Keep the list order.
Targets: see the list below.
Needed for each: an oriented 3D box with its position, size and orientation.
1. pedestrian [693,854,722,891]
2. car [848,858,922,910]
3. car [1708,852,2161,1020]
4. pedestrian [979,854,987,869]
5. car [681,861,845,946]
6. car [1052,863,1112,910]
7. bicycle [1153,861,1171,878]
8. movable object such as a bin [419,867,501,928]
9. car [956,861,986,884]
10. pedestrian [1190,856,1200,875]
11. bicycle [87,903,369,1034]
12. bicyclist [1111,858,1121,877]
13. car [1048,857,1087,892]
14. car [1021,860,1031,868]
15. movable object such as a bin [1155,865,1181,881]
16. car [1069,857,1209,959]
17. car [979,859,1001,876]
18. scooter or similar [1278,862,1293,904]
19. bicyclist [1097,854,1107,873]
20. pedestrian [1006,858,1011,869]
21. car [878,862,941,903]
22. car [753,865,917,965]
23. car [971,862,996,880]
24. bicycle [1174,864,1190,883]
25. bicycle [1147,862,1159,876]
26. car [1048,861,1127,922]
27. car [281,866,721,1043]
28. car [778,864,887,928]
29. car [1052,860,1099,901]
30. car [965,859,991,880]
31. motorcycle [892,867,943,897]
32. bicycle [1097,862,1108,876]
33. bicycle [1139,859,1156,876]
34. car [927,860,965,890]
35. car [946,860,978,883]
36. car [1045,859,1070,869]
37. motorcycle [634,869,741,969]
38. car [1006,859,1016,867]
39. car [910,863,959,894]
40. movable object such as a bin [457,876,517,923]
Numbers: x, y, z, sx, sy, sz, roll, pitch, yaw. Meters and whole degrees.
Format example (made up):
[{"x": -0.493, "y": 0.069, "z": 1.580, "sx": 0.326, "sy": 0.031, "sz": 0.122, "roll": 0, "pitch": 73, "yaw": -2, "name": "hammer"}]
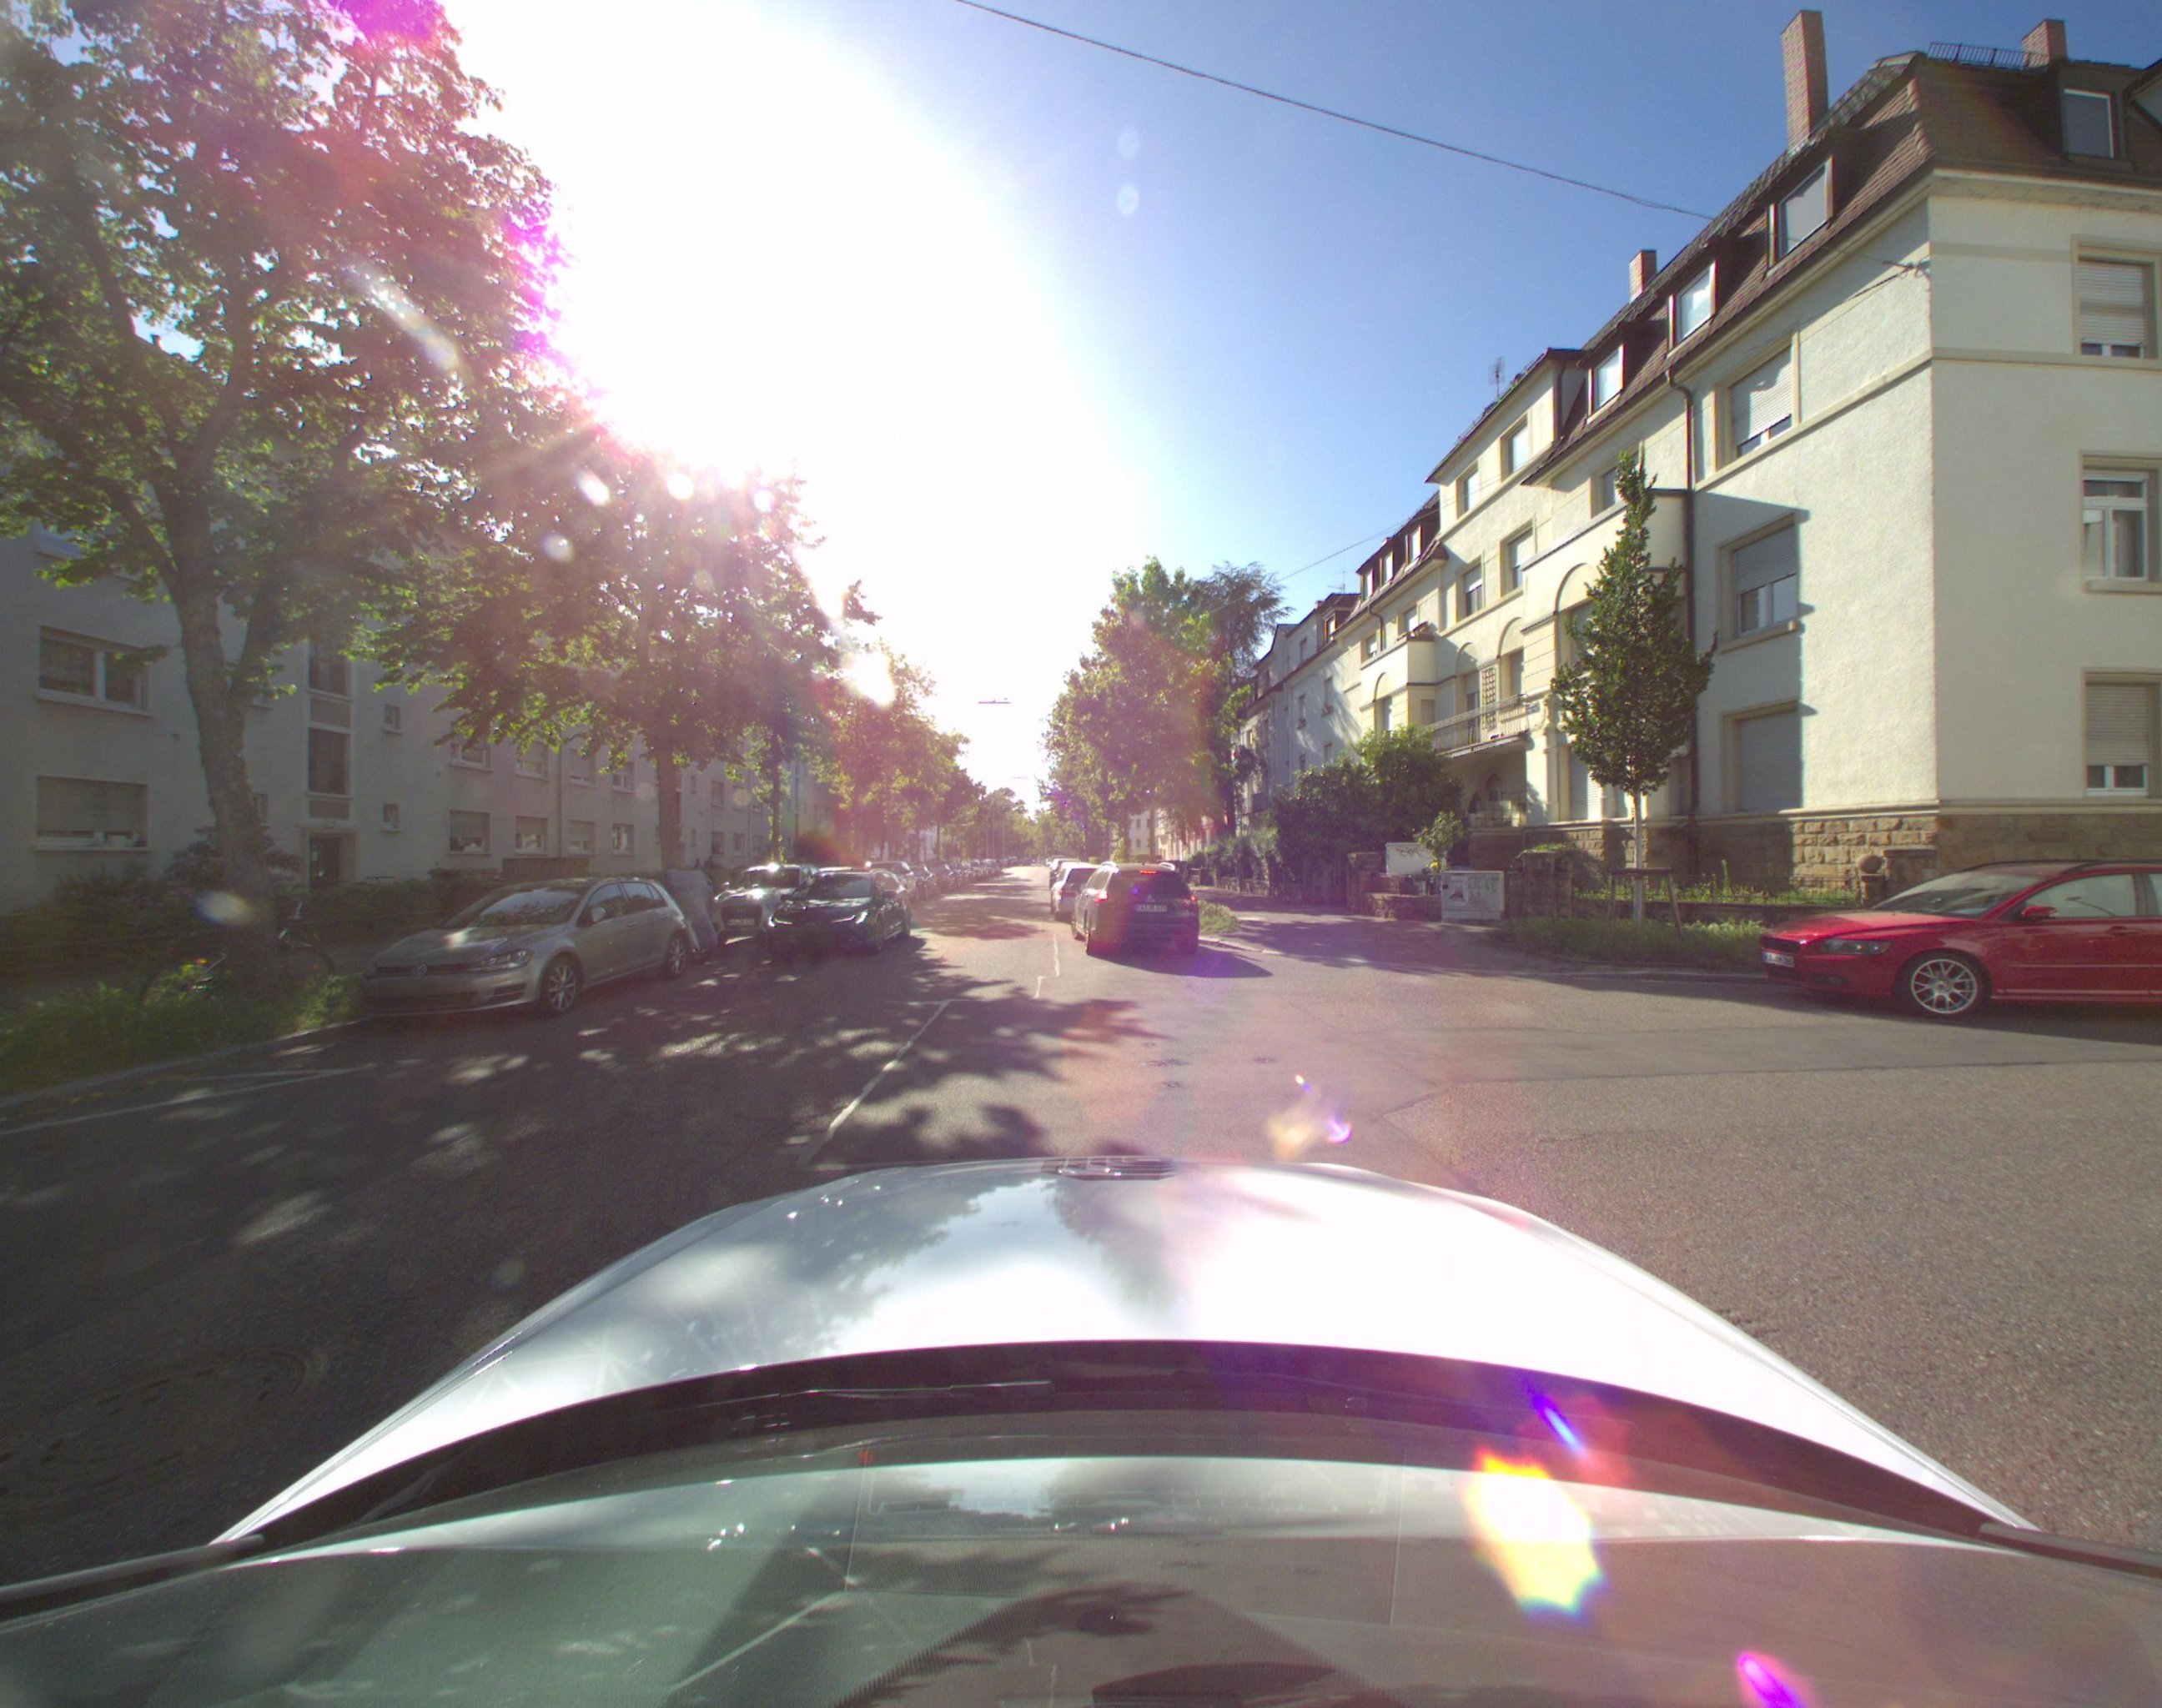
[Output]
[{"x": -19.433, "y": 0.949, "z": 42.373, "sx": 0.927, "sy": 1.888, "sz": 1.028, "roll": -1, "pitch": -1, "yaw": 9, "name": "pedestrian"}, {"x": -6.970, "y": 1.017, "z": 29.359, "sx": 1.725, "sy": 1.618, "sz": 4.361, "roll": -4, "pitch": 0, "yaw": -3, "name": "car"}, {"x": 9.477, "y": 0.735, "z": 8.153, "sx": 4.687, "sy": 1.469, "sz": 1.959, "roll": -1, "pitch": -1, "yaw": 11, "name": "car"}, {"x": -13.723, "y": 1.056, "z": 114.047, "sx": 0.855, "sy": 2.014, "sz": 0.983, "roll": -1, "pitch": 0, "yaw": 6, "name": "pedestrian"}, {"x": -6.638, "y": 0.939, "z": 17.623, "sx": 2.061, "sy": 1.524, "sz": 4.713, "roll": -1, "pitch": 0, "yaw": -5, "name": "car"}, {"x": -0.050, "y": 1.030, "z": 27.525, "sx": 1.707, "sy": 1.410, "sz": 4.855, "roll": 1, "pitch": 0, "yaw": -4, "name": "car"}, {"x": 5.320, "y": 1.026, "z": 53.390, "sx": 0.802, "sy": 1.115, "sz": 1.996, "roll": 0, "pitch": -1, "yaw": -5, "name": "bicycle"}, {"x": -14.393, "y": 0.975, "z": 18.912, "sx": 0.929, "sy": 1.324, "sz": 1.375, "roll": -1, "pitch": -1, "yaw": -8, "name": "movable object such as a bin"}, {"x": -8.338, "y": 1.372, "z": 61.983, "sx": 1.807, "sy": 1.596, "sz": 4.228, "roll": -1, "pitch": 0, "yaw": -3, "name": "car"}, {"x": 7.030, "y": 0.693, "z": 50.057, "sx": 0.508, "sy": 1.142, "sz": 0.755, "roll": 0, "pitch": -1, "yaw": -1, "name": "pedestrian"}, {"x": -8.646, "y": 1.101, "z": 8.426, "sx": 0.528, "sy": 1.015, "sz": 2.092, "roll": 6, "pitch": 0, "yaw": 3, "name": "bicycle"}, {"x": 3.025, "y": 1.169, "z": 70.750, "sx": 0.675, "sy": 1.553, "sz": 1.020, "roll": -1, "pitch": -1, "yaw": -6, "name": "bicyclist"}, {"x": -0.700, "y": 1.029, "z": 42.806, "sx": 1.920, "sy": 1.652, "sz": 5.092, "roll": 1, "pitch": 0, "yaw": -1, "name": "car"}, {"x": -10.898, "y": 2.043, "z": 162.316, "sx": 1.781, "sy": 1.609, "sz": 3.990, "roll": -1, "pitch": 0, "yaw": -7, "name": "car"}, {"x": 5.134, "y": 1.119, "z": 47.957, "sx": 1.211, "sy": 0.905, "sz": 1.672, "roll": -1, "pitch": 0, "yaw": 18, "name": "movable object such as a bin"}, {"x": 0.848, "y": 0.857, "z": 14.797, "sx": 1.892, "sy": 1.524, "sz": 4.960, "roll": 0, "pitch": -1, "yaw": -4, "name": "car"}, {"x": -9.187, "y": 1.388, "z": 82.325, "sx": 1.835, "sy": 1.595, "sz": 4.257, "roll": -2, "pitch": 0, "yaw": -3, "name": "car"}, {"x": 6.016, "y": 0.846, "z": 23.974, "sx": 0.399, "sy": 1.185, "sz": 1.210, "roll": -1, "pitch": 0, "yaw": 13, "name": "scooter or similar"}, {"x": 1.826, "y": 0.844, "z": 70.800, "sx": 0.676, "sy": 1.609, "sz": 0.920, "roll": -1, "pitch": -1, "yaw": -6, "name": "bicyclist"}, {"x": -12.057, "y": 1.578, "z": 135.382, "sx": 0.716, "sy": 1.900, "sz": 0.833, "roll": -1, "pitch": 0, "yaw": -12, "name": "pedestrian"}, {"x": -7.217, "y": 1.170, "z": 34.689, "sx": 1.724, "sy": 1.477, "sz": 4.615, "roll": -4, "pitch": 0, "yaw": -2, "name": "car"}, {"x": -4.229, "y": 0.965, "z": 14.726, "sx": 1.805, "sy": 1.445, "sz": 4.360, "roll": -2, "pitch": 0, "yaw": -3, "name": "car"}, {"x": -9.074, "y": 1.563, "z": 76.256, "sx": 1.989, "sy": 1.453, "sz": 4.257, "roll": -3, "pitch": 0, "yaw": -3, "name": "car"}, {"x": 5.519, "y": 1.034, "z": 44.469, "sx": 0.579, "sy": 0.975, "sz": 1.902, "roll": -1, "pitch": 0, "yaw": -1, "name": "bicycle"}, {"x": 5.094, "y": 1.060, "z": 57.928, "sx": 0.594, "sy": 0.957, "sz": 1.901, "roll": -1, "pitch": 0, "yaw": -2, "name": "bicycle"}, {"x": 0.074, "y": 0.951, "z": 22.541, "sx": 1.818, "sy": 1.469, "sz": 4.902, "roll": 1, "pitch": 0, "yaw": -4, "name": "car"}, {"x": -6.360, "y": 0.957, "z": 9.810, "sx": 2.037, "sy": 1.524, "sz": 4.603, "roll": -1, "pitch": 0, "yaw": -1, "name": "car"}, {"x": -6.789, "y": 1.084, "z": 22.801, "sx": 1.724, "sy": 1.447, "sz": 4.815, "roll": -3, "pitch": 0, "yaw": -3, "name": "car"}, {"x": -0.294, "y": 1.029, "z": 33.241, "sx": 1.651, "sy": 1.532, "sz": 3.964, "roll": 2, "pitch": 0, "yaw": -4, "name": "car"}, {"x": -8.552, "y": 1.260, "z": 67.571, "sx": 1.706, "sy": 1.544, "sz": 3.927, "roll": -3, "pitch": 0, "yaw": -2, "name": "car"}, {"x": -7.694, "y": 1.289, "z": 38.290, "sx": 2.288, "sy": 1.270, "sz": 0.805, "roll": -2, "pitch": 0, "yaw": -13, "name": "motorcycle"}, {"x": 1.839, "y": 1.279, "z": 70.706, "sx": 0.683, "sy": 1.153, "sz": 2.398, "roll": -1, "pitch": 0, "yaw": -5, "name": "bicycle"}, {"x": 4.909, "y": 0.978, "z": 60.320, "sx": 0.837, "sy": 1.257, "sz": 2.226, "roll": 0, "pitch": -1, "yaw": -6, "name": "bicycle"}, {"x": -7.702, "y": 1.161, "z": 46.774, "sx": 1.787, "sy": 1.566, "sz": 4.456, "roll": -3, "pitch": 0, "yaw": -6, "name": "car"}, {"x": -8.216, "y": 1.183, "z": 56.448, "sx": 1.758, "sy": 1.443, "sz": 3.904, "roll": -3, "pitch": 0, "yaw": -3, "name": "car"}, {"x": -3.889, "y": 1.615, "z": 134.281, "sx": 3.983, "sy": 1.587, "sz": 1.723, "roll": -1, "pitch": 0, "yaw": -7, "name": "car"}, {"x": -6.628, "y": 1.024, "z": 13.643, "sx": 0.995, "sy": 1.503, "sz": 2.206, "roll": -1, "pitch": 0, "yaw": -42, "name": "motorcycle"}, {"x": -14.860, "y": 1.898, "z": 173.263, "sx": 1.989, "sy": 1.585, "sz": 3.996, "roll": -1, "pitch": 0, "yaw": -2, "name": "car"}, {"x": -7.422, "y": 1.217, "z": 41.635, "sx": 1.775, "sy": 1.379, "sz": 4.259, "roll": -3, "pitch": 0, "yaw": -2, "name": "car"}, {"x": -14.544, "y": 1.100, "z": 19.953, "sx": 0.929, "sy": 1.092, "sz": 0.752, "roll": -1, "pitch": -1, "yaw": -8, "name": "movable object such as a bin"}]
